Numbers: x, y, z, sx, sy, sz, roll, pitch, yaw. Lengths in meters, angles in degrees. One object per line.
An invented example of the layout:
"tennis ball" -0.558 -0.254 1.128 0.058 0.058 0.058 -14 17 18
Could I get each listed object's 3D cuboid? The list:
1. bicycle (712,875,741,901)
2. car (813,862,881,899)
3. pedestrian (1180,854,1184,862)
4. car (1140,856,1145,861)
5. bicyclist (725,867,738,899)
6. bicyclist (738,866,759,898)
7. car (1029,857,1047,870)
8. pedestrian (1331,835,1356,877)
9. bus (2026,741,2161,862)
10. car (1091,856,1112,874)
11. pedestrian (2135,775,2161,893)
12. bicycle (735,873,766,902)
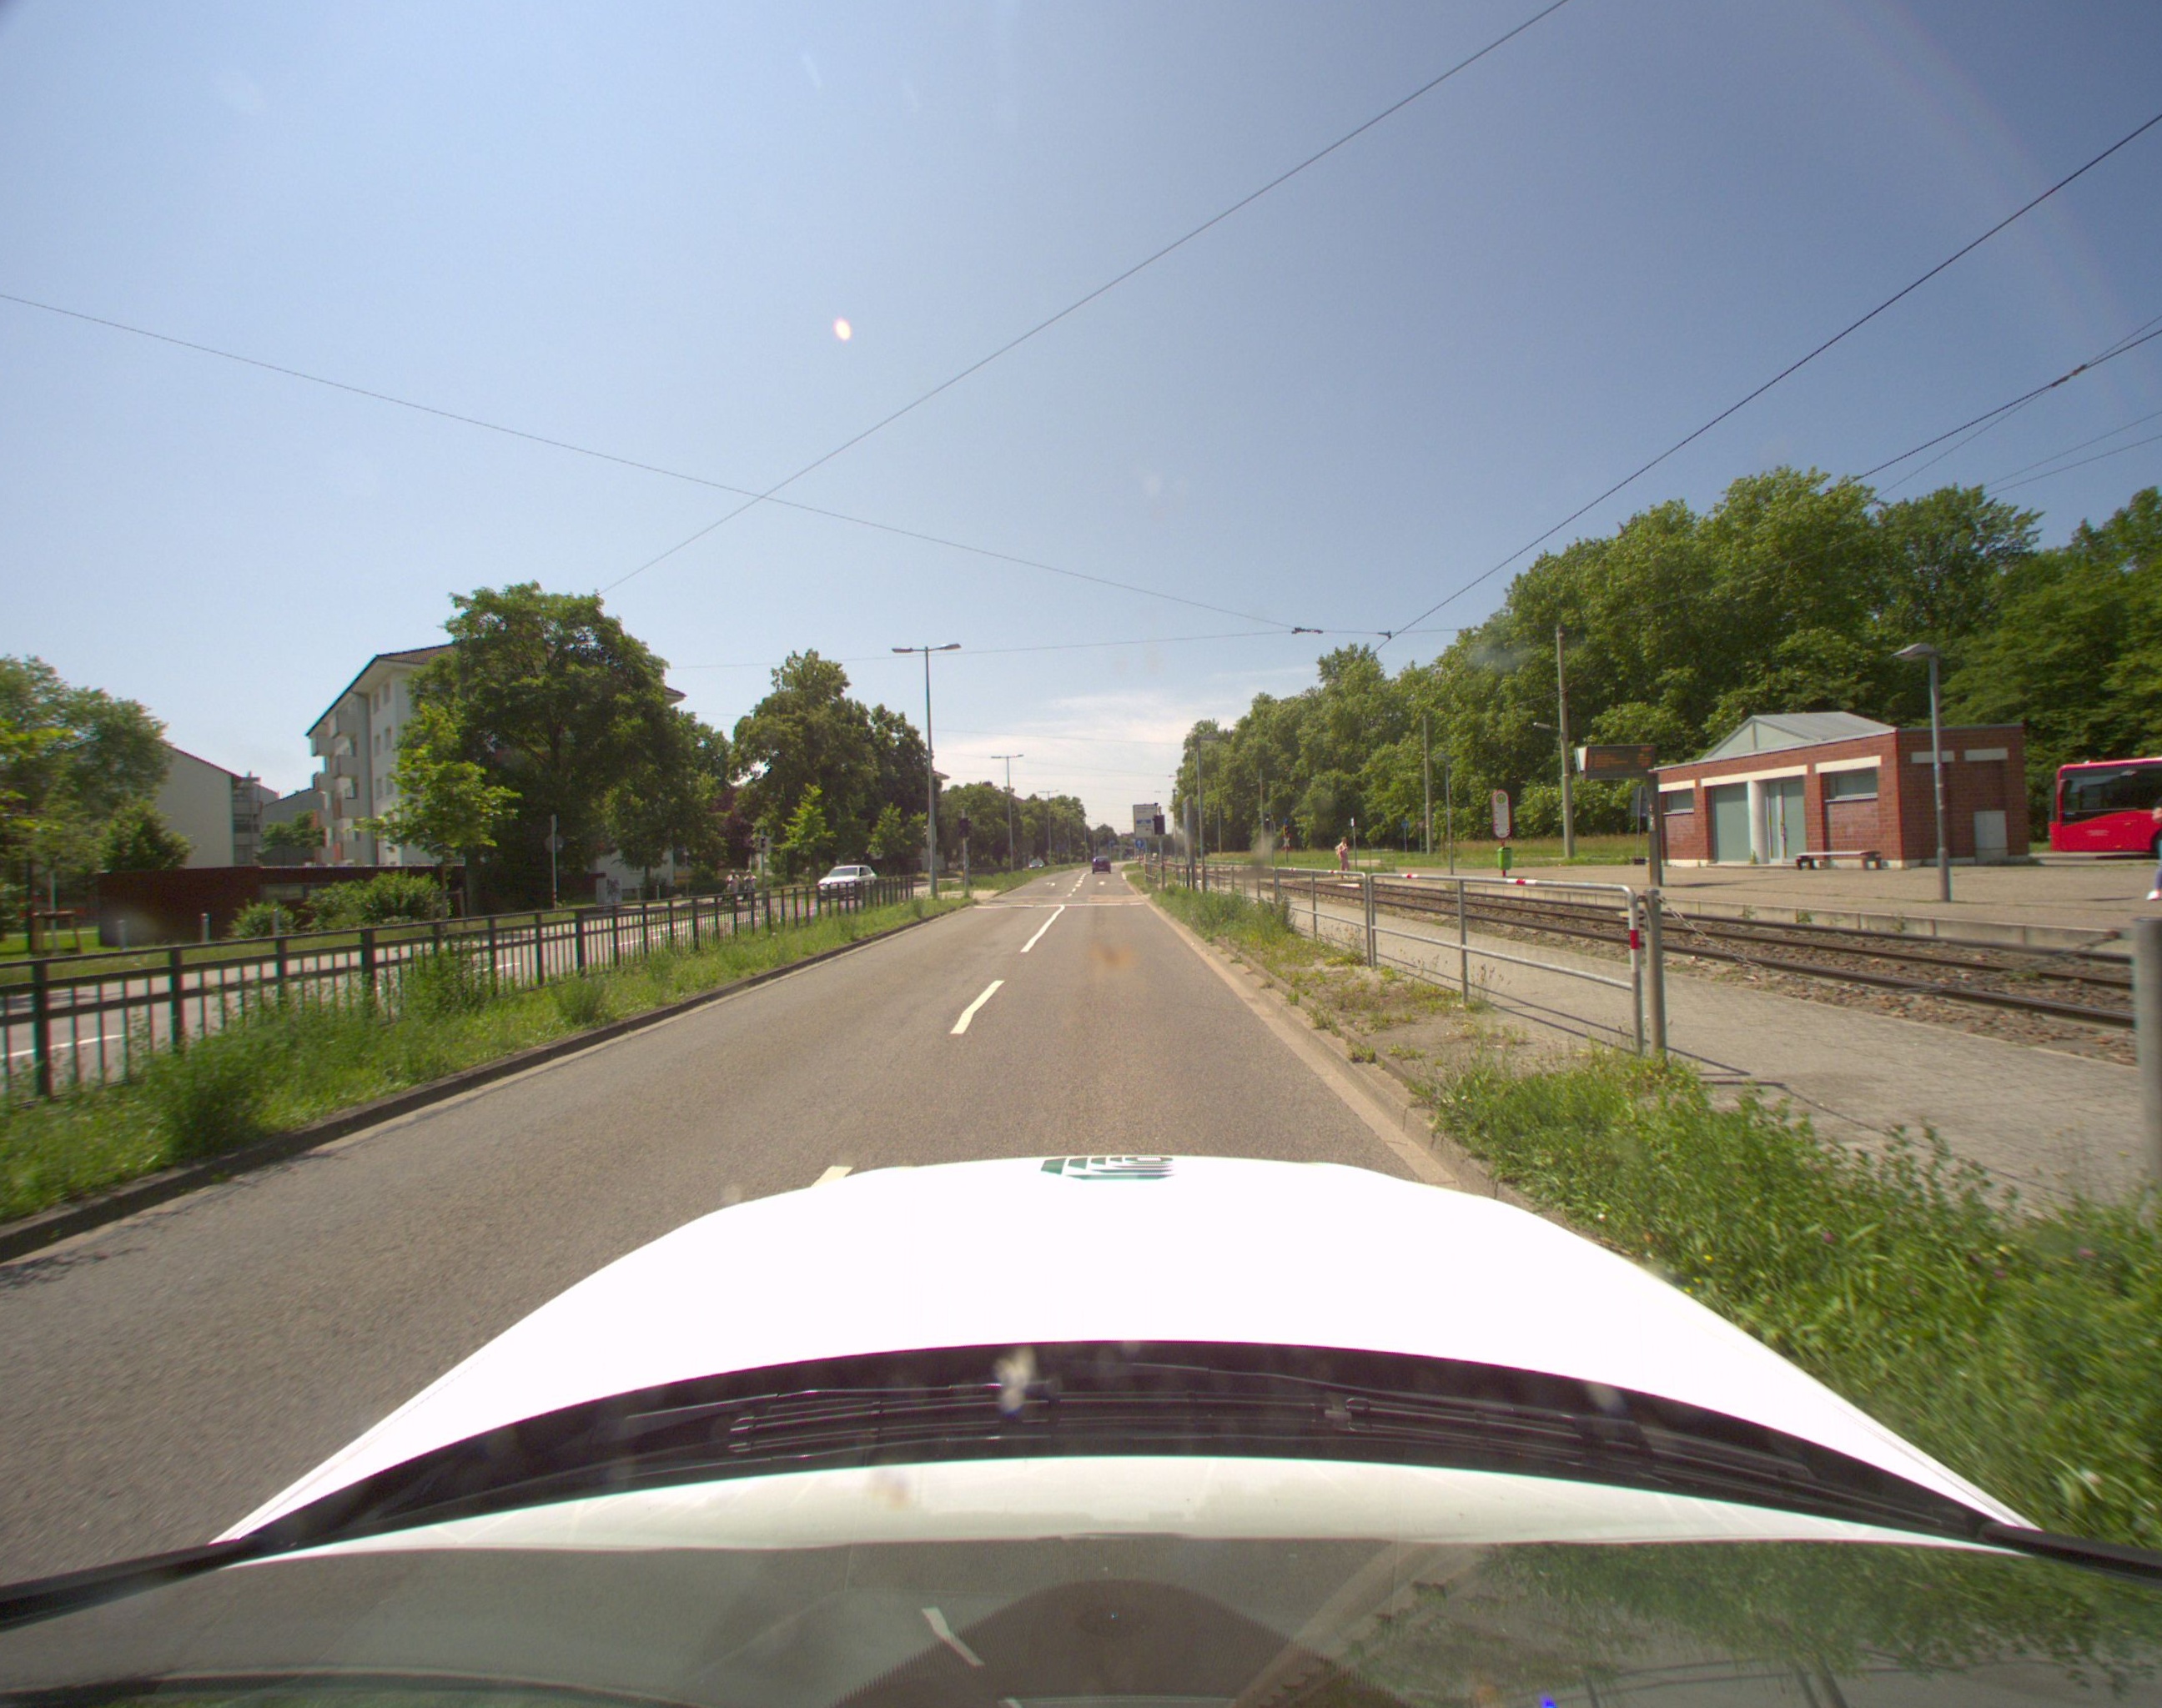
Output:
"bicycle" -15.158 1.441 34.864 0.551 1.094 1.380 -1 -1 3
"car" -11.150 1.243 39.112 1.814 1.572 4.348 -3 0 2
"pedestrian" 22.077 0.836 178.063 0.658 1.726 0.818 -3 -1 8
"car" 19.065 1.384 252.049 1.695 1.481 3.720 -1 -1 4
"bicyclist" -15.118 1.247 35.239 0.356 1.392 0.441 -1 -1 4
"bicyclist" -14.304 1.198 35.050 0.543 1.346 0.755 -3 -1 1
"car" -5.450 1.168 103.883 1.748 1.543 4.165 -3 0 4
"pedestrian" 11.041 0.088 34.233 0.635 1.759 0.813 -1 -2 -12
"bus" 33.401 -1.627 20.526 2.766 3.439 12.369 0 -1 -18
"car" 1.816 0.944 70.905 1.696 1.477 3.718 -3 -1 2
"pedestrian" 15.310 -0.283 11.434 0.358 1.646 0.446 -1 -2 4
"bicycle" -14.291 1.437 35.294 0.586 1.133 1.616 -3 0 2
